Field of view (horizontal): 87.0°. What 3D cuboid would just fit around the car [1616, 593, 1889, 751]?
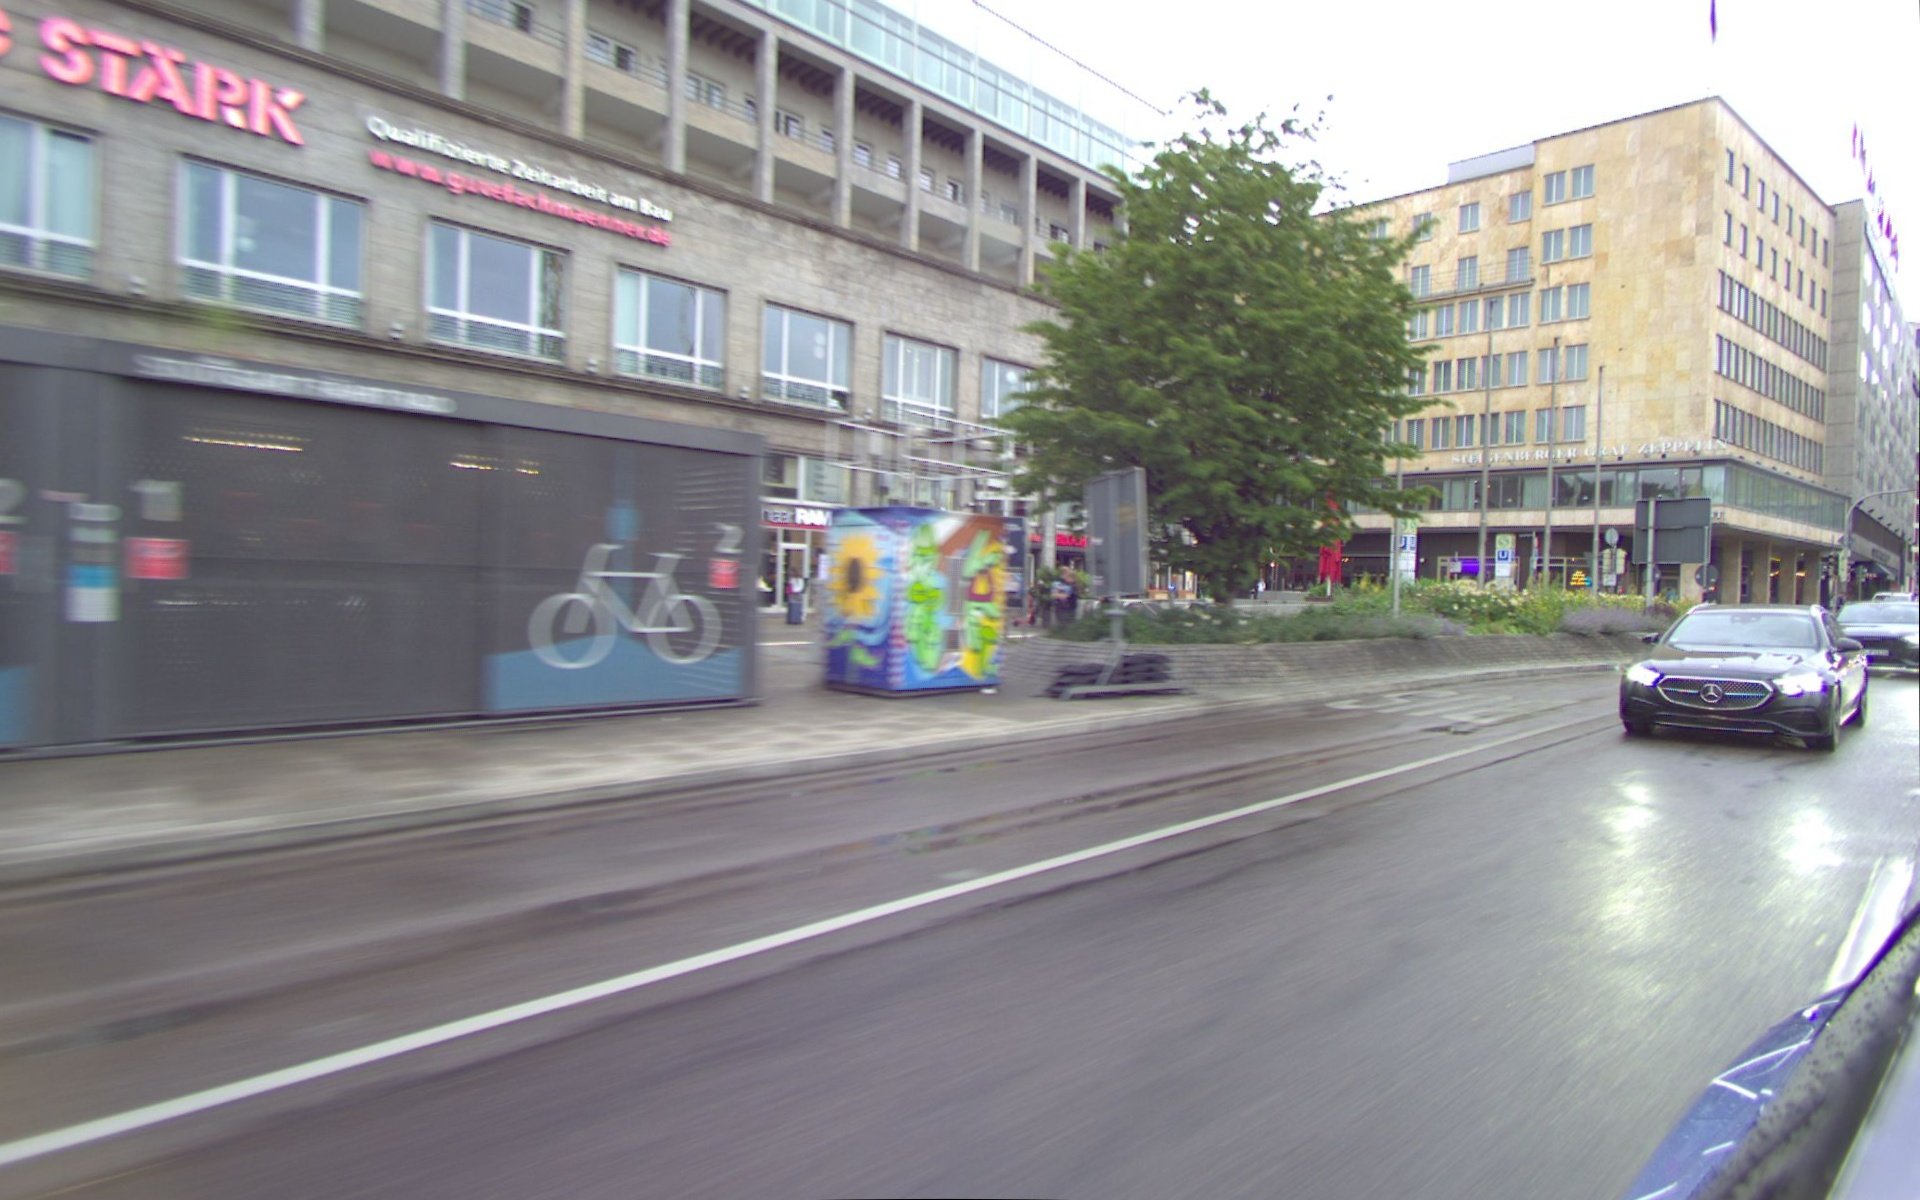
[{"bbox_3d":[9.425,0.666,11.880,4.620,1.482,1.820,0,1,-43],"label":"car"}]

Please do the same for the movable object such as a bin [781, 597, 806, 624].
[{"bbox_3d":[-4.752,0.291,28.895,0.470,0.734,0.572,0,1,-45],"label":"movable object such as a bin"}]

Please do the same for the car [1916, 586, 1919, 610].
[{"bbox_3d":[65.831,-0.134,67.989,4.794,1.629,1.996,0,2,-43],"label":"car"}]

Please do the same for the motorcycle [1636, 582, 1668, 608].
[{"bbox_3d":[41.127,-0.304,60.149,2.802,1.471,0.963,0,1,-43],"label":"motorcycle"}]

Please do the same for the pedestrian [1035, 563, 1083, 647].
[{"bbox_3d":[2.152,0.093,21.965,0.613,1.773,0.854,1,1,45],"label":"pedestrian"}]

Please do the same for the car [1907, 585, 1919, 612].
[{"bbox_3d":[61.453,-0.107,63.987,4.483,1.656,1.996,0,2,-43],"label":"car"}]

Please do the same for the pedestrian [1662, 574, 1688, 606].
[{"bbox_3d":[42.030,-0.593,59.490,1.090,1.870,1.000,-1,2,-41],"label":"pedestrian"}]

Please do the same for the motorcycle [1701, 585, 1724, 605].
[{"bbox_3d":[47.203,-0.324,63.482,2.493,1.246,0.729,0,1,-43],"label":"motorcycle"}]

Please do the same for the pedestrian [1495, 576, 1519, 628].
[{"bbox_3d":[19.506,0.069,36.068,0.669,1.812,0.536,0,1,-40],"label":"pedestrian"}]

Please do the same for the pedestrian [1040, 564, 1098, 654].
[{"bbox_3d":[2.220,0.162,20.585,0.640,1.773,1.059,1,1,45],"label":"pedestrian"}]

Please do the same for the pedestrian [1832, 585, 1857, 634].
[{"bbox_3d":[35.304,0.371,40.396,0.779,1.943,0.673,0,1,-42],"label":"pedestrian"}]

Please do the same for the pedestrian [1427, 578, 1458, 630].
[{"bbox_3d":[16.529,0.130,34.647,0.698,1.773,0.823,1,1,45],"label":"pedestrian"}]

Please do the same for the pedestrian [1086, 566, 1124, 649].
[{"bbox_3d":[3.129,0.153,21.804,0.566,1.773,0.559,1,1,45],"label":"pedestrian"}]

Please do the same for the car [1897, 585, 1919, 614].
[{"bbox_3d":[57.144,-0.054,59.991,5.048,1.674,1.996,0,2,-43],"label":"car"}]

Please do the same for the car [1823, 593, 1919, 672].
[{"bbox_3d":[20.059,0.636,21.716,4.094,1.527,1.874,0,2,-43],"label":"car"}]

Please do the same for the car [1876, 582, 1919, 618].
[{"bbox_3d":[52.664,-0.016,56.362,4.912,1.908,1.996,0,2,-43],"label":"car"}]

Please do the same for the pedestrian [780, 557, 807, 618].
[{"bbox_3d":[-4.866,-0.369,29.555,0.526,1.773,0.563,1,1,45],"label":"pedestrian"}]
